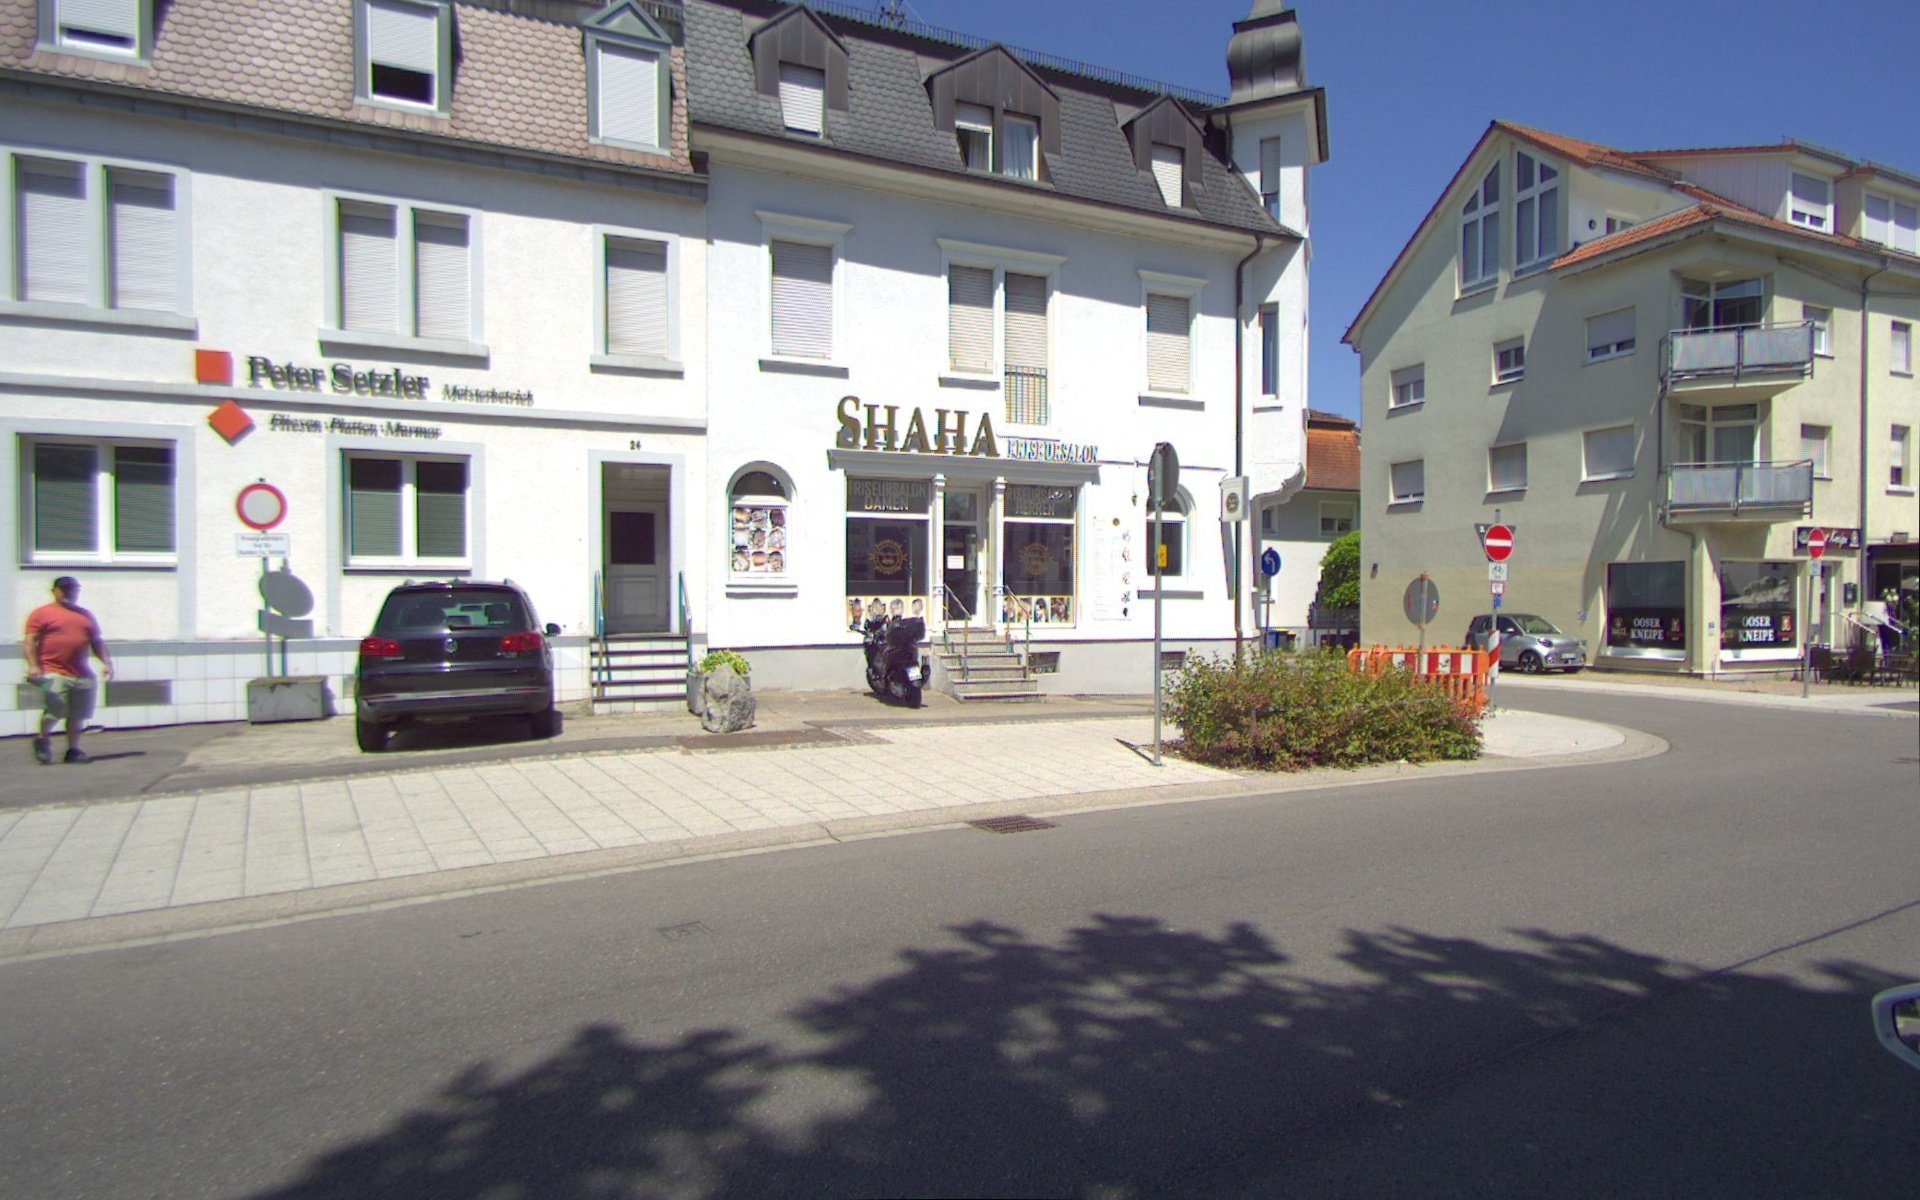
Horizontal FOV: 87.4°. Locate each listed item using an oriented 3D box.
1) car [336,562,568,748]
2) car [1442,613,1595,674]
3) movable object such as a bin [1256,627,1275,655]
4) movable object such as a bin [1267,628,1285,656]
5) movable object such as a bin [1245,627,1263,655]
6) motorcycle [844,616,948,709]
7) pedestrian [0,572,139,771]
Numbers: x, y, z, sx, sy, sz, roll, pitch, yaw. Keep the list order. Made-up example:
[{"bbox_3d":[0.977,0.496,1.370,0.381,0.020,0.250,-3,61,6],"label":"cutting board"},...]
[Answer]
[{"bbox_3d":[-5.597,0.511,11.389,1.944,1.684,4.169,0,0,-24],"label":"car"},{"bbox_3d":[14.939,1.119,27.022,1.668,1.478,3.253,0,0,-24],"label":"car"},{"bbox_3d":[13.292,1.788,43.693,0.533,1.209,0.591,0,-1,-19],"label":"movable object such as a bin"},{"bbox_3d":[13.802,1.811,43.890,0.533,1.209,0.591,0,-1,-19],"label":"movable object such as a bin"},{"bbox_3d":[12.743,1.763,43.521,0.533,1.209,0.591,0,-1,-19],"label":"movable object such as a bin"},{"bbox_3d":[-1.003,0.883,14.930,0.821,1.234,2.390,1,-1,-22],"label":"motorcycle"},{"bbox_3d":[-8.364,0.646,9.445,0.723,1.777,0.738,-1,-1,24],"label":"pedestrian"}]
